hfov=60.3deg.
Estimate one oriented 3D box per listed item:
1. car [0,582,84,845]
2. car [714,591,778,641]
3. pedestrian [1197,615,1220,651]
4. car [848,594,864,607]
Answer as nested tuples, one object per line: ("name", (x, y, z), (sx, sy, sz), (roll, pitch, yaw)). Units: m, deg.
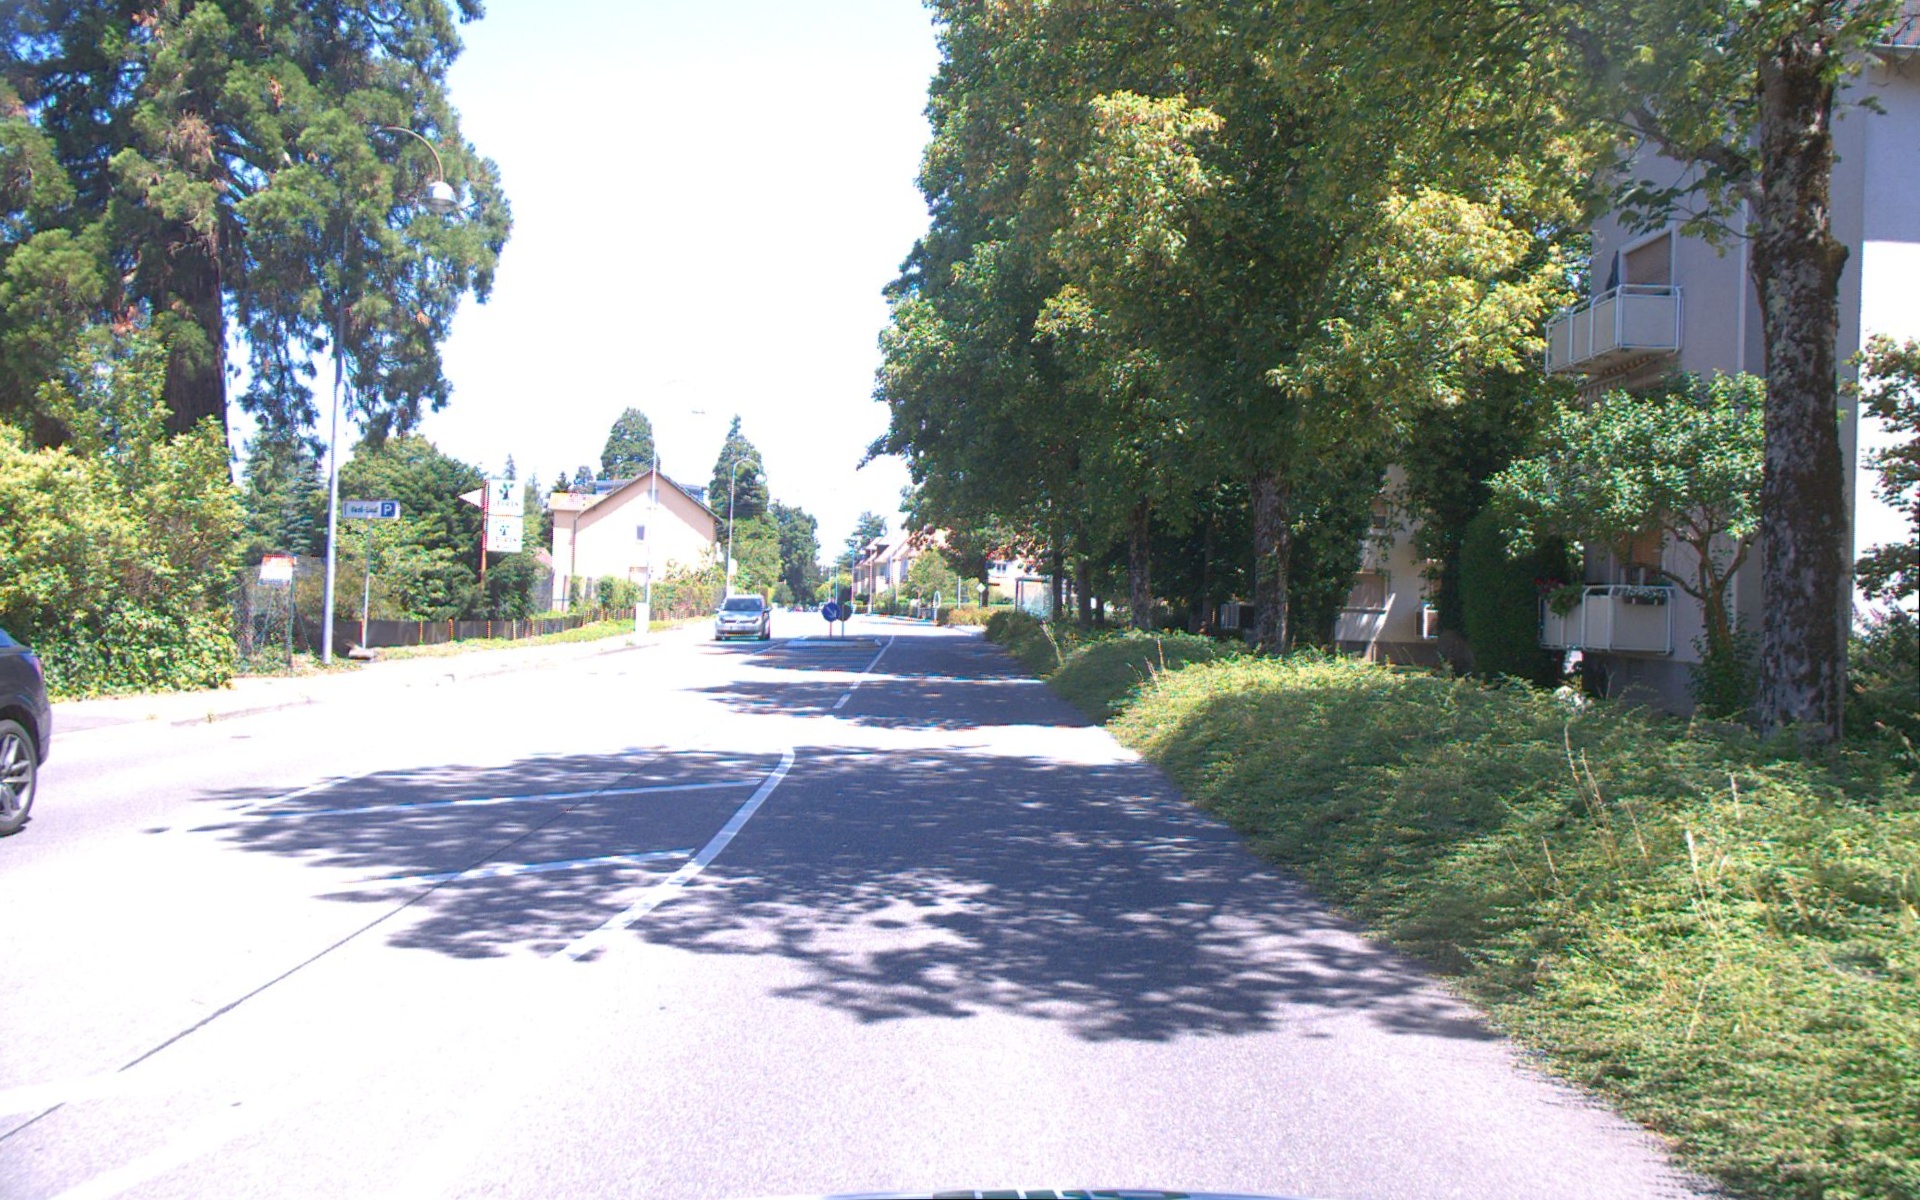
("car", (-6.549, 0.657, 8.555), (1.757, 1.563, 4.314), (1, 0, -1))
("car", (-7.681, 0.556, 59.681), (1.874, 1.719, 4.124), (1, 0, -1))
("pedestrian", (8.370, 1.123, 55.719), (0.689, 1.180, 0.754), (1, 0, 3))
("car", (-14.118, 0.066, 224.734), (1.778, 1.748, 4.000), (1, 0, 0))
